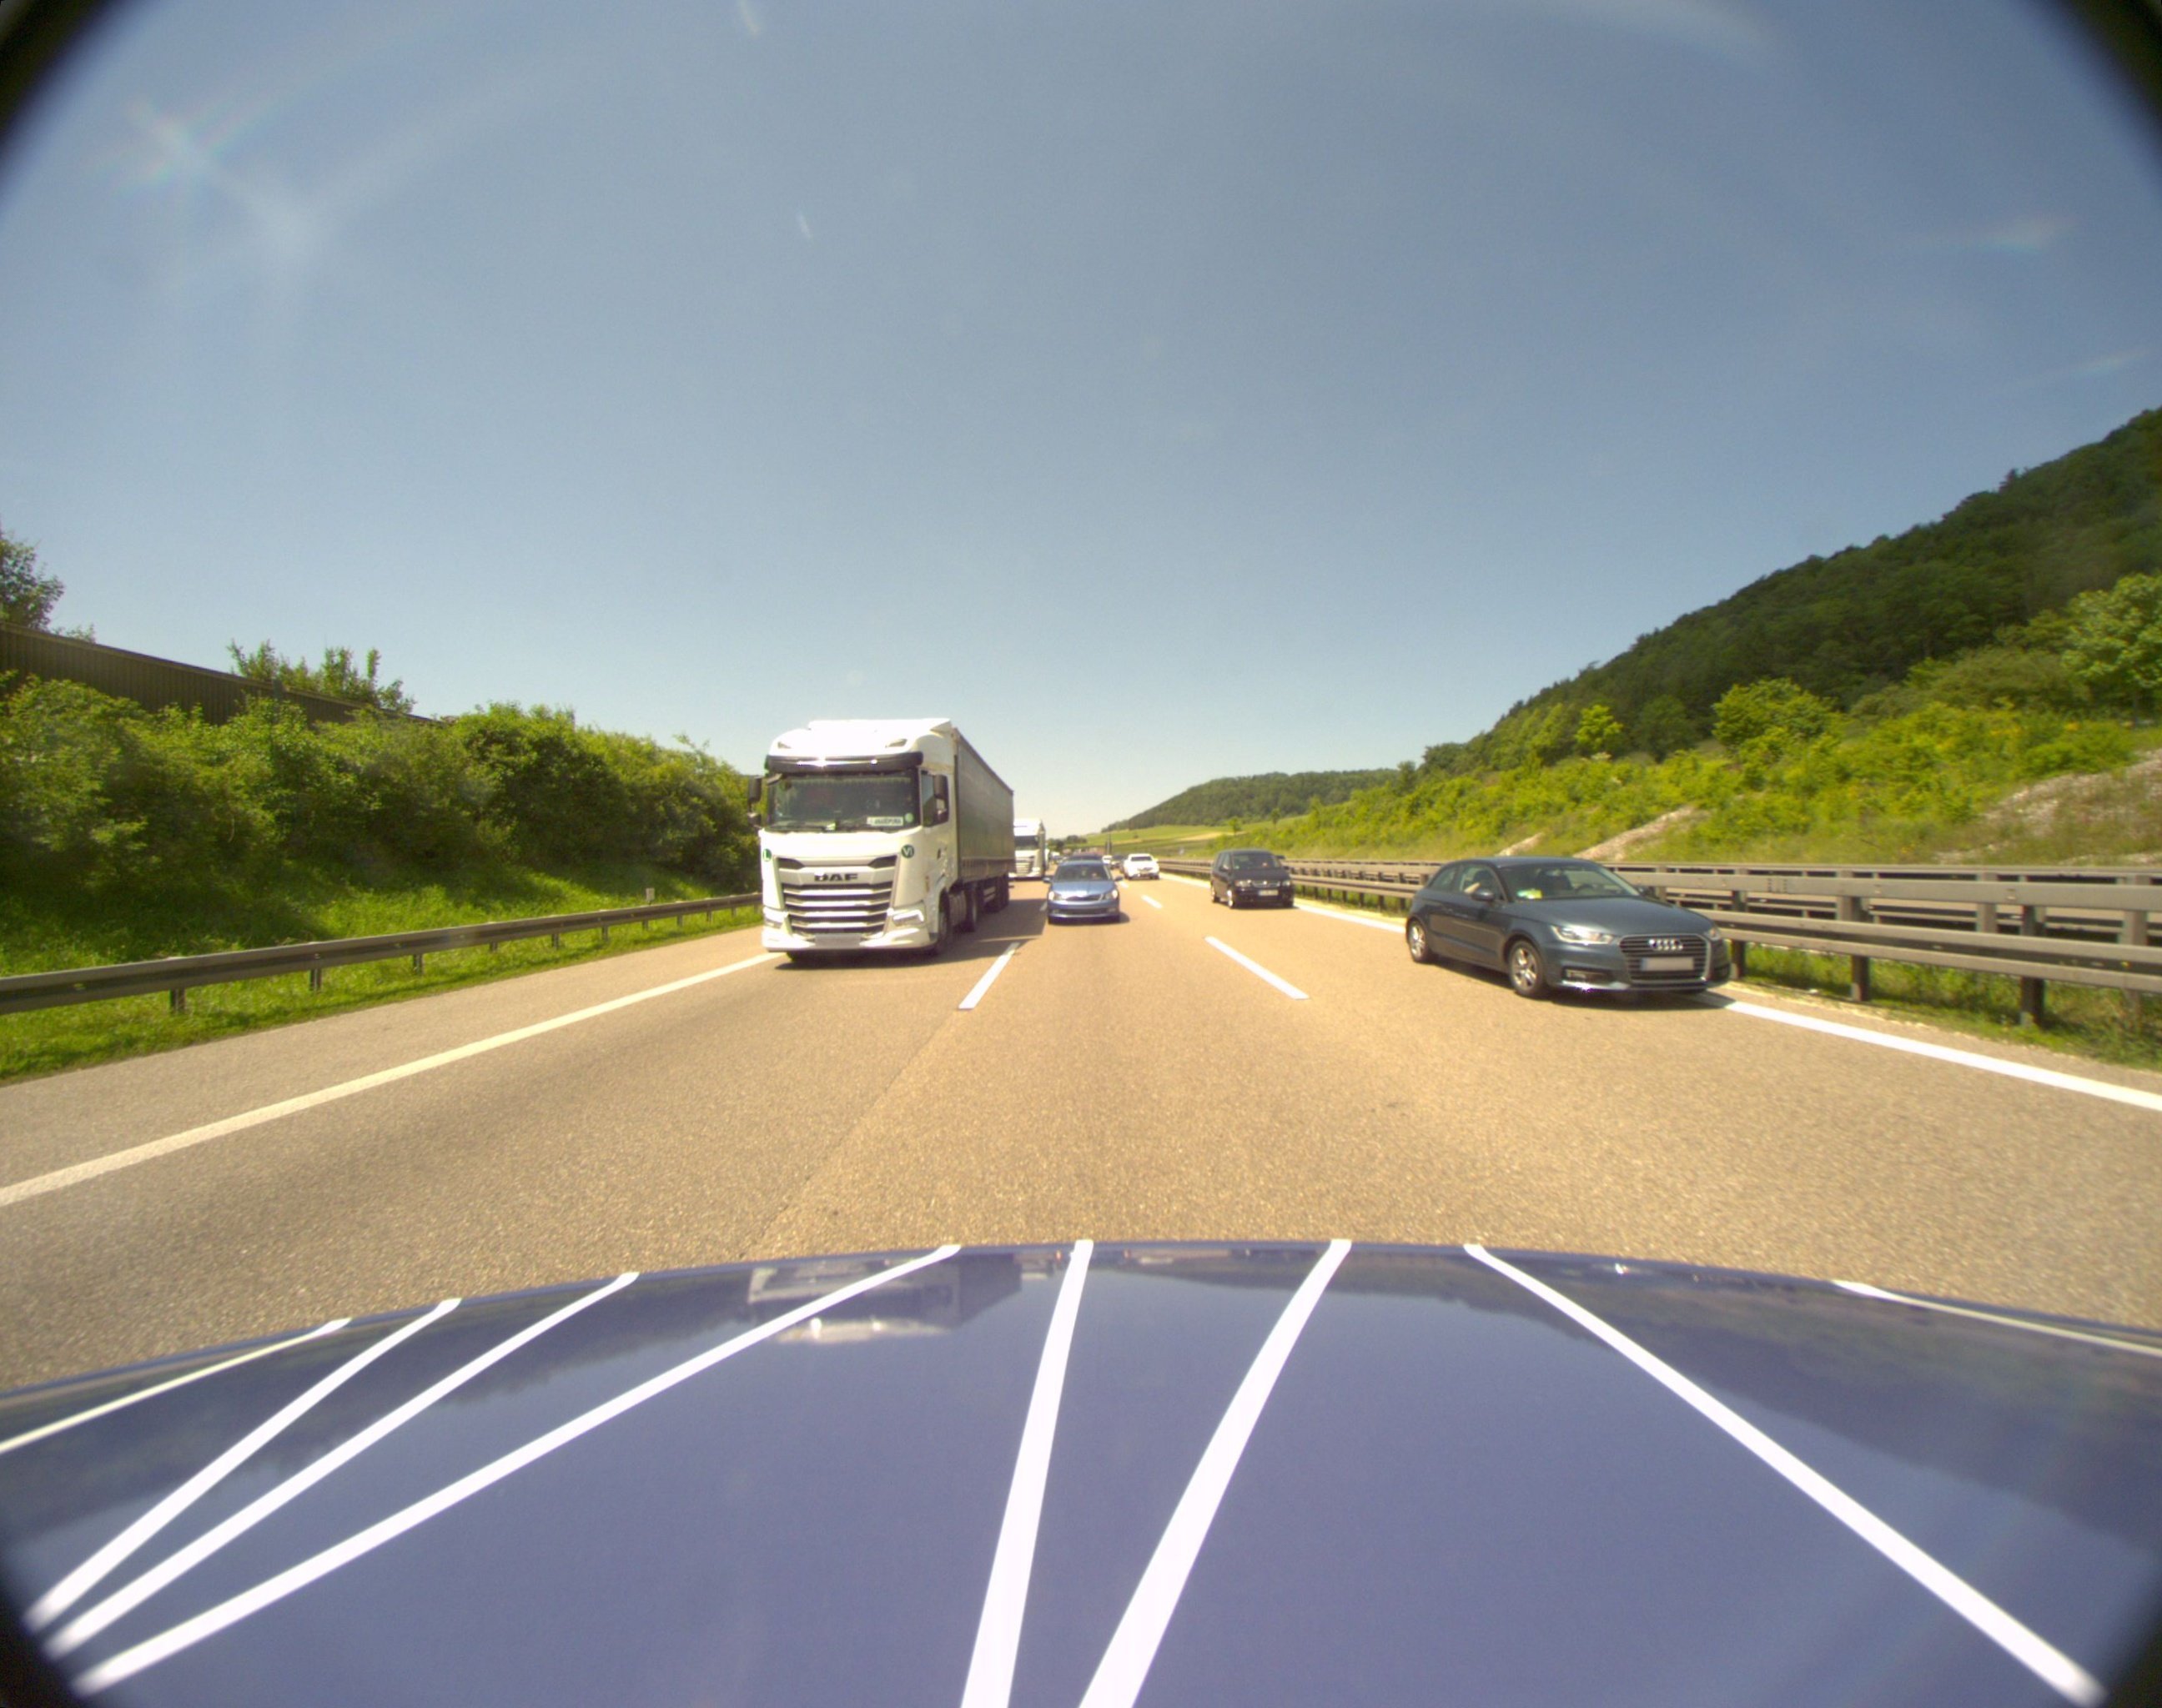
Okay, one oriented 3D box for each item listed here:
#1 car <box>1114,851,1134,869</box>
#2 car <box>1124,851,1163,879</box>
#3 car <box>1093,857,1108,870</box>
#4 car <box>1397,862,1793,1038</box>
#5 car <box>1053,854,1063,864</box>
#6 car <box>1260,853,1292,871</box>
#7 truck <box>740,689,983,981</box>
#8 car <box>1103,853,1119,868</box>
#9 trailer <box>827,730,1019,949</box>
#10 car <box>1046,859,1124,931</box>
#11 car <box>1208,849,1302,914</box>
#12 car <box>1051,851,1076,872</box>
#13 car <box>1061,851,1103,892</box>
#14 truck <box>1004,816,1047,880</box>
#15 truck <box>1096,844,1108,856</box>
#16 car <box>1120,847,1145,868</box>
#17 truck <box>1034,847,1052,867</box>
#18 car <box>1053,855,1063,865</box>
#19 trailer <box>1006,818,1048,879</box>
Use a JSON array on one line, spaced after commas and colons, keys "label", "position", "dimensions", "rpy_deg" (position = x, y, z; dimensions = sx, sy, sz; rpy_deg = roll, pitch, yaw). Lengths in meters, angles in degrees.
[{"label": "car", "position": [4.554, 0.644, 80.020], "dimensions": [1.998, 1.702, 4.000], "rpy_deg": [-2, 1, 3]}, {"label": "car", "position": [3.827, 0.622, 47.010], "dimensions": [1.999, 1.612, 3.999], "rpy_deg": [-2, 0, -1]}, {"label": "car", "position": [2.832, 1.326, 108.401], "dimensions": [1.998, 1.702, 4.000], "rpy_deg": [-2, 1, 3]}, {"label": "car", "position": [5.116, 0.829, 8.337], "dimensions": [1.692, 1.380, 4.000], "rpy_deg": [-1, 0, 1]}, {"label": "car", "position": [-5.025, 1.051, 163.906], "dimensions": [1.999, 2.002, 3.999], "rpy_deg": [-2, 1, 0]}, {"label": "car", "position": [16.017, 0.655, 62.517], "dimensions": [1.695, 1.360, 3.741], "rpy_deg": [-1, 0, 0]}, {"label": "truck", "position": [-3.412, -0.266, 13.611], "dimensions": [2.484, 3.954, 6.380], "rpy_deg": [-1, 0, -1]}, {"label": "car", "position": [3.872, 0.810, 97.251], "dimensions": [1.998, 1.702, 4.000], "rpy_deg": [-2, 1, 3]}, {"label": "trailer", "position": [-3.431, -0.290, 20.703], "dimensions": [2.484, 3.954, 13.653], "rpy_deg": [-1, 0, -1]}, {"label": "car", "position": [0.085, 0.897, 18.740], "dimensions": [1.660, 1.481, 4.653], "rpy_deg": [-1, 0, 0]}, {"label": "car", "position": [4.838, 0.691, 21.702], "dimensions": [1.805, 1.625, 4.446], "rpy_deg": [-1, 0, 2]}, {"label": "car", "position": [-1.461, 0.638, 65.701], "dimensions": [1.999, 1.702, 3.999], "rpy_deg": [-2, 1, 0]}, {"label": "car", "position": [0.093, 0.743, 34.154], "dimensions": [1.736, 1.674, 4.198], "rpy_deg": [-1, 0, 2]}, {"label": "truck", "position": [-3.714, -0.416, 51.856], "dimensions": [2.531, 4.065, 6.078], "rpy_deg": [-2, 1, -2]}, {"label": "truck", "position": [7.238, -1.396, 259.630], "dimensions": [3.627, 4.079, 9.921], "rpy_deg": [-1, 0, 0]}, {"label": "car", "position": [4.339, 0.310, 64.362], "dimensions": [1.998, 1.692, 4.001], "rpy_deg": [-1, 0, 3]}, {"label": "truck", "position": [-4.563, 0.354, 92.172], "dimensions": [1.835, 2.267, 6.594], "rpy_deg": [-2, 1, 0]}, {"label": "car", "position": [-4.921, 1.199, 162.286], "dimensions": [1.999, 2.002, 3.999], "rpy_deg": [-2, 1, 0]}, {"label": "trailer", "position": [-3.935, -0.459, 58.521], "dimensions": [2.544, 4.085, 13.624], "rpy_deg": [-2, 1, -2]}]
